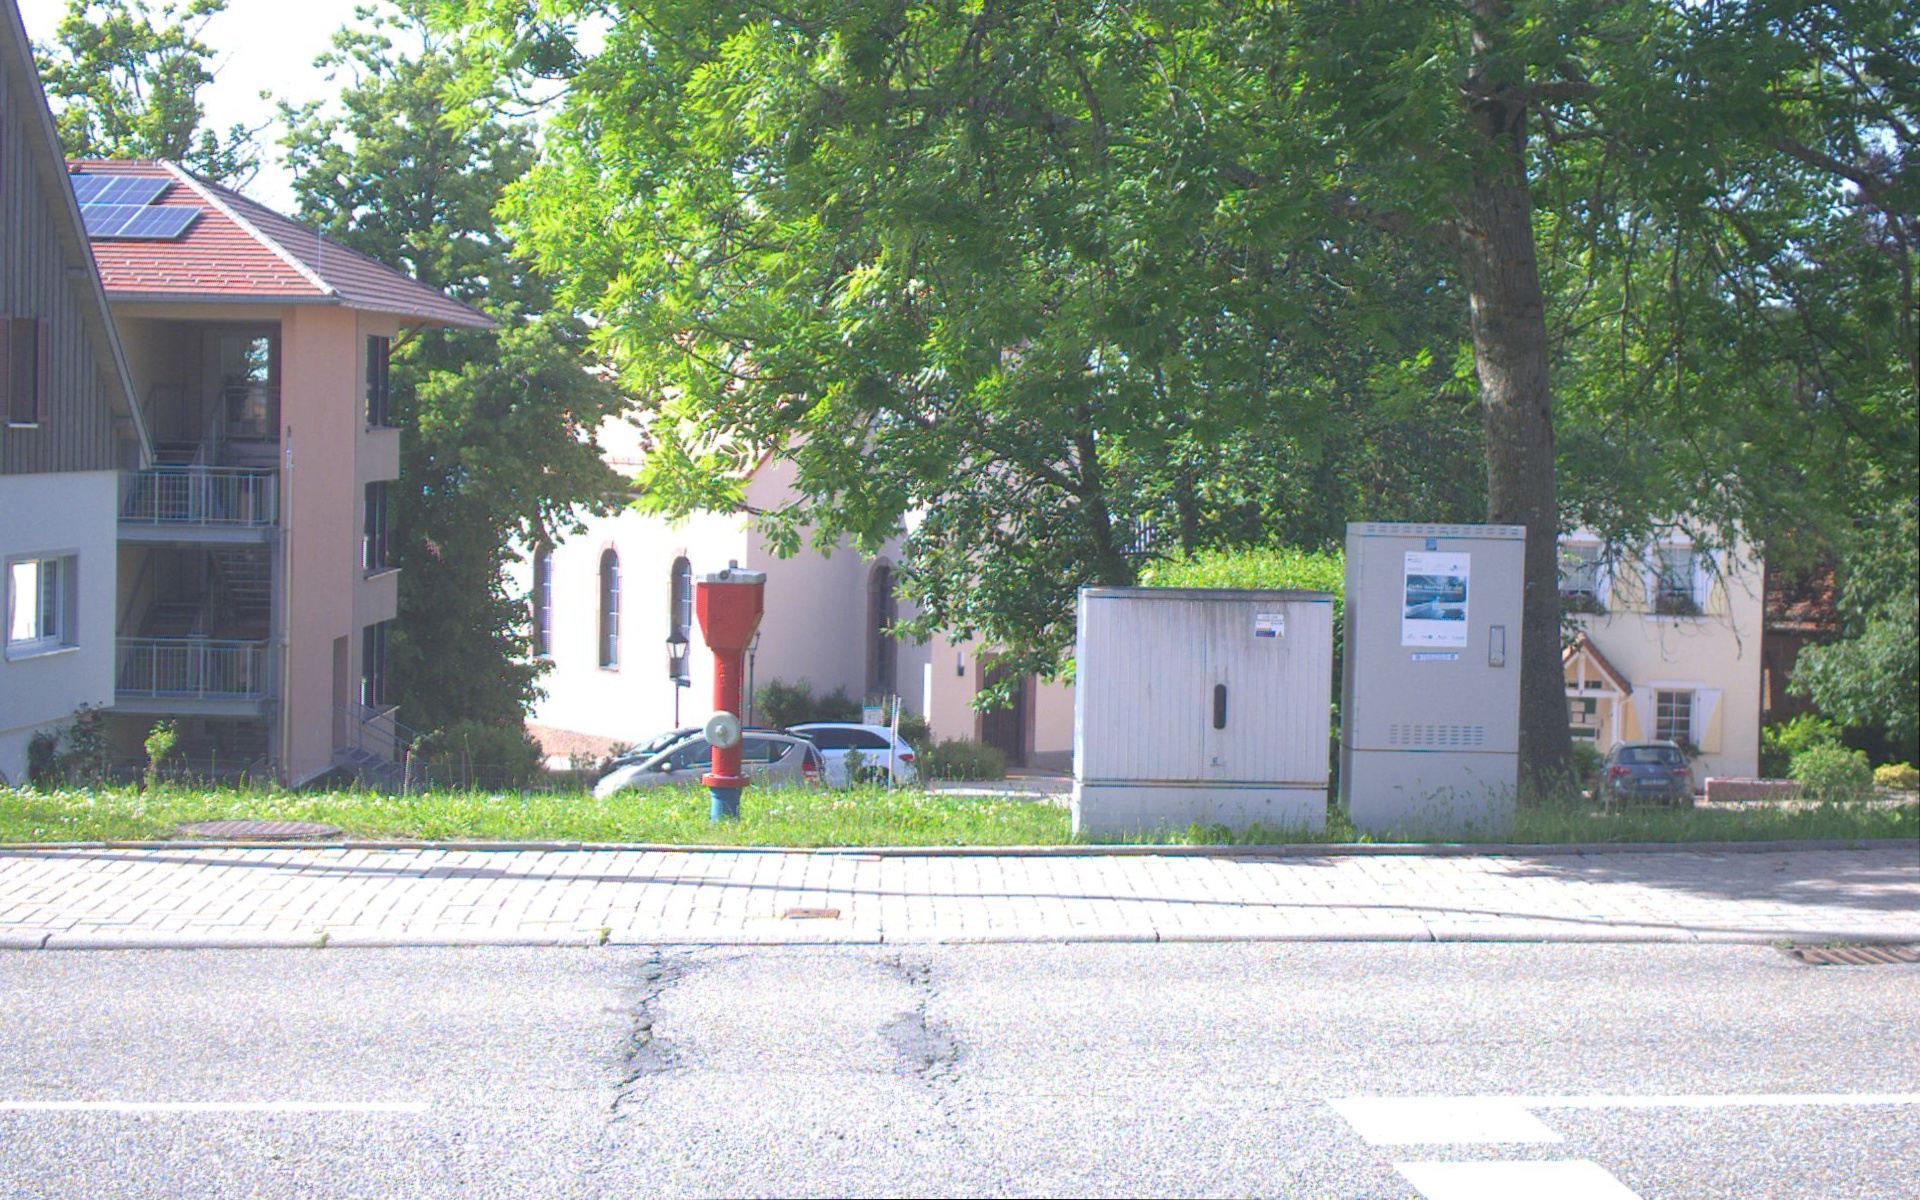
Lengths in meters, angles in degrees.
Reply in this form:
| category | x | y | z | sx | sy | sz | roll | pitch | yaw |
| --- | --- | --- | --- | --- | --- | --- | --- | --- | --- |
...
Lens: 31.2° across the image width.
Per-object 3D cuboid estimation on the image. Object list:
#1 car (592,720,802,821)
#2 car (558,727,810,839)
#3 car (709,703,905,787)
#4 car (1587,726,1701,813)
| category | x | y | z | sx | sy | sz | roll | pitch | yaw |
| --- | --- | --- | --- | --- | --- | --- | --- | --- | --- |
| car | -4.797 | 3.084 | 62.578 | 3.772 | 1.752 | 1.714 | 0 | -1 | -5 |
| car | -4.554 | 3.009 | 56.791 | 4.090 | 1.752 | 1.714 | 0 | -1 | -4 |
| car | -3.019 | 2.831 | 67.587 | 3.772 | 1.588 | 1.714 | 0 | -1 | -5 |
| car | 13.232 | 3.254 | 66.675 | 1.708 | 1.537 | 3.784 | 0 | -1 | 4 |
